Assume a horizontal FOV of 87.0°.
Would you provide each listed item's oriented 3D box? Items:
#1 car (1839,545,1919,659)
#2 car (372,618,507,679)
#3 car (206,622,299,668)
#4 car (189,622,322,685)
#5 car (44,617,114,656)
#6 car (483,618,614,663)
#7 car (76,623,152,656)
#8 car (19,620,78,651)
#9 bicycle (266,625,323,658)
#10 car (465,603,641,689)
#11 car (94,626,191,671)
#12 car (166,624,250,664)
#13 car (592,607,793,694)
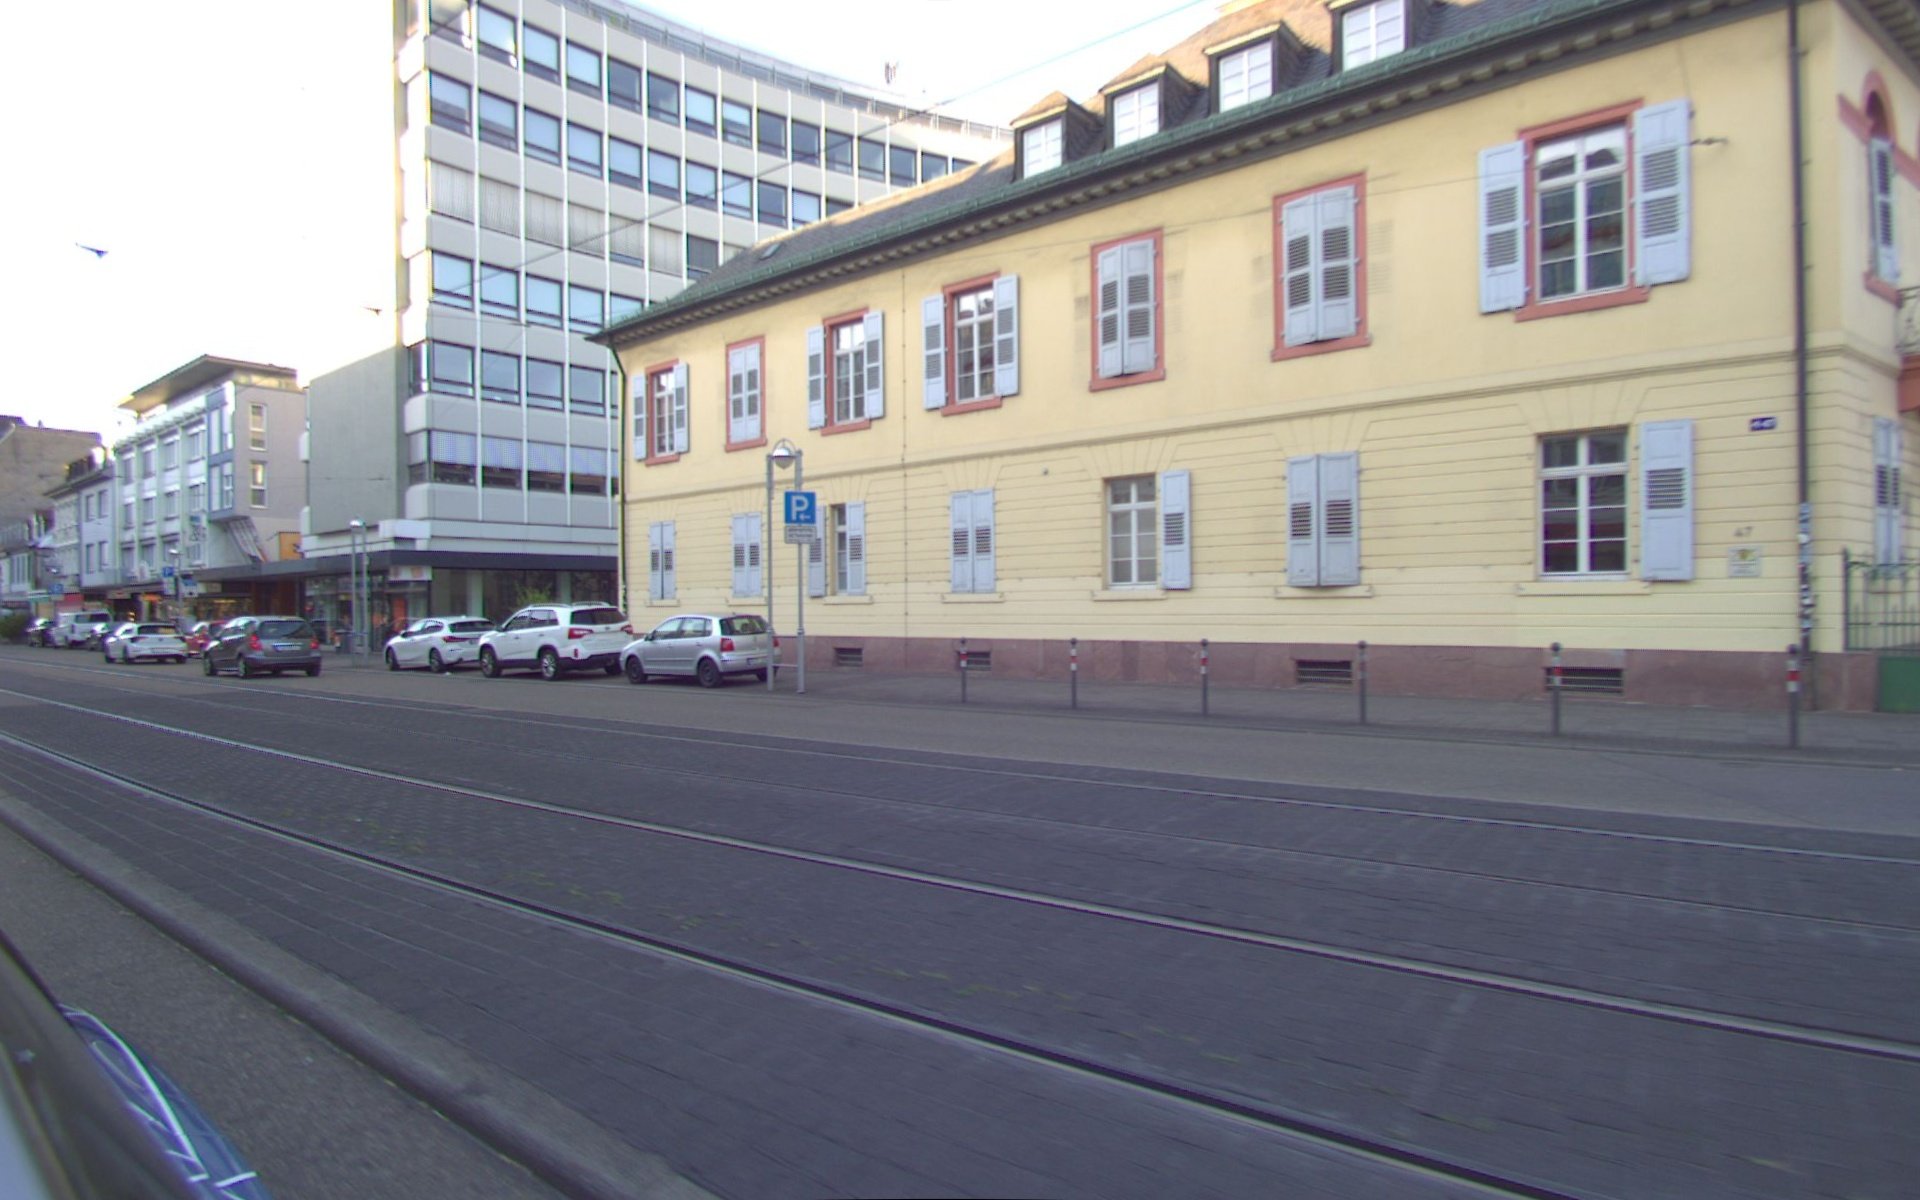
[{"bbox_3d":[23.728,0.013,22.882,2.062,2.650,5.442,-1,-1,-18],"label":"car"},{"bbox_3d":[-14.428,1.306,27.962,4.429,1.523,1.794,-2,-2,40],"label":"car"},{"bbox_3d":[-25.734,1.607,36.773,4.210,1.523,1.669,-2,-1,39],"label":"car"},{"bbox_3d":[-18.640,1.384,26.728,4.027,1.523,1.719,-2,-1,36],"label":"car"},{"bbox_3d":[-47.726,1.977,54.790,5.155,1.992,1.937,-2,-2,38],"label":"car"},{"bbox_3d":[-14.634,1.409,36.145,1.845,1.478,3.946,-2,-1,40],"label":"car"},{"bbox_3d":[-41.912,1.946,50.102,4.551,1.477,1.974,-2,0,38],"label":"car"},{"bbox_3d":[-53.680,2.095,59.588,4.521,1.734,1.840,-2,-1,38],"label":"car"},{"bbox_3d":[-29.760,1.853,45.287,0.833,1.436,1.950,-2,-2,37],"label":"bicycle"},{"bbox_3d":[-9.704,1.044,23.993,4.490,1.799,1.796,-2,0,37],"label":"car"},{"bbox_3d":[-28.843,1.678,35.688,4.029,1.523,1.789,-1,-2,38],"label":"car"},{"bbox_3d":[-29.804,1.720,40.075,4.210,1.523,1.669,-2,-2,39],"label":"car"},{"bbox_3d":[-5.582,1.001,20.938,4.206,1.629,1.796,-2,-1,36],"label":"car"}]
